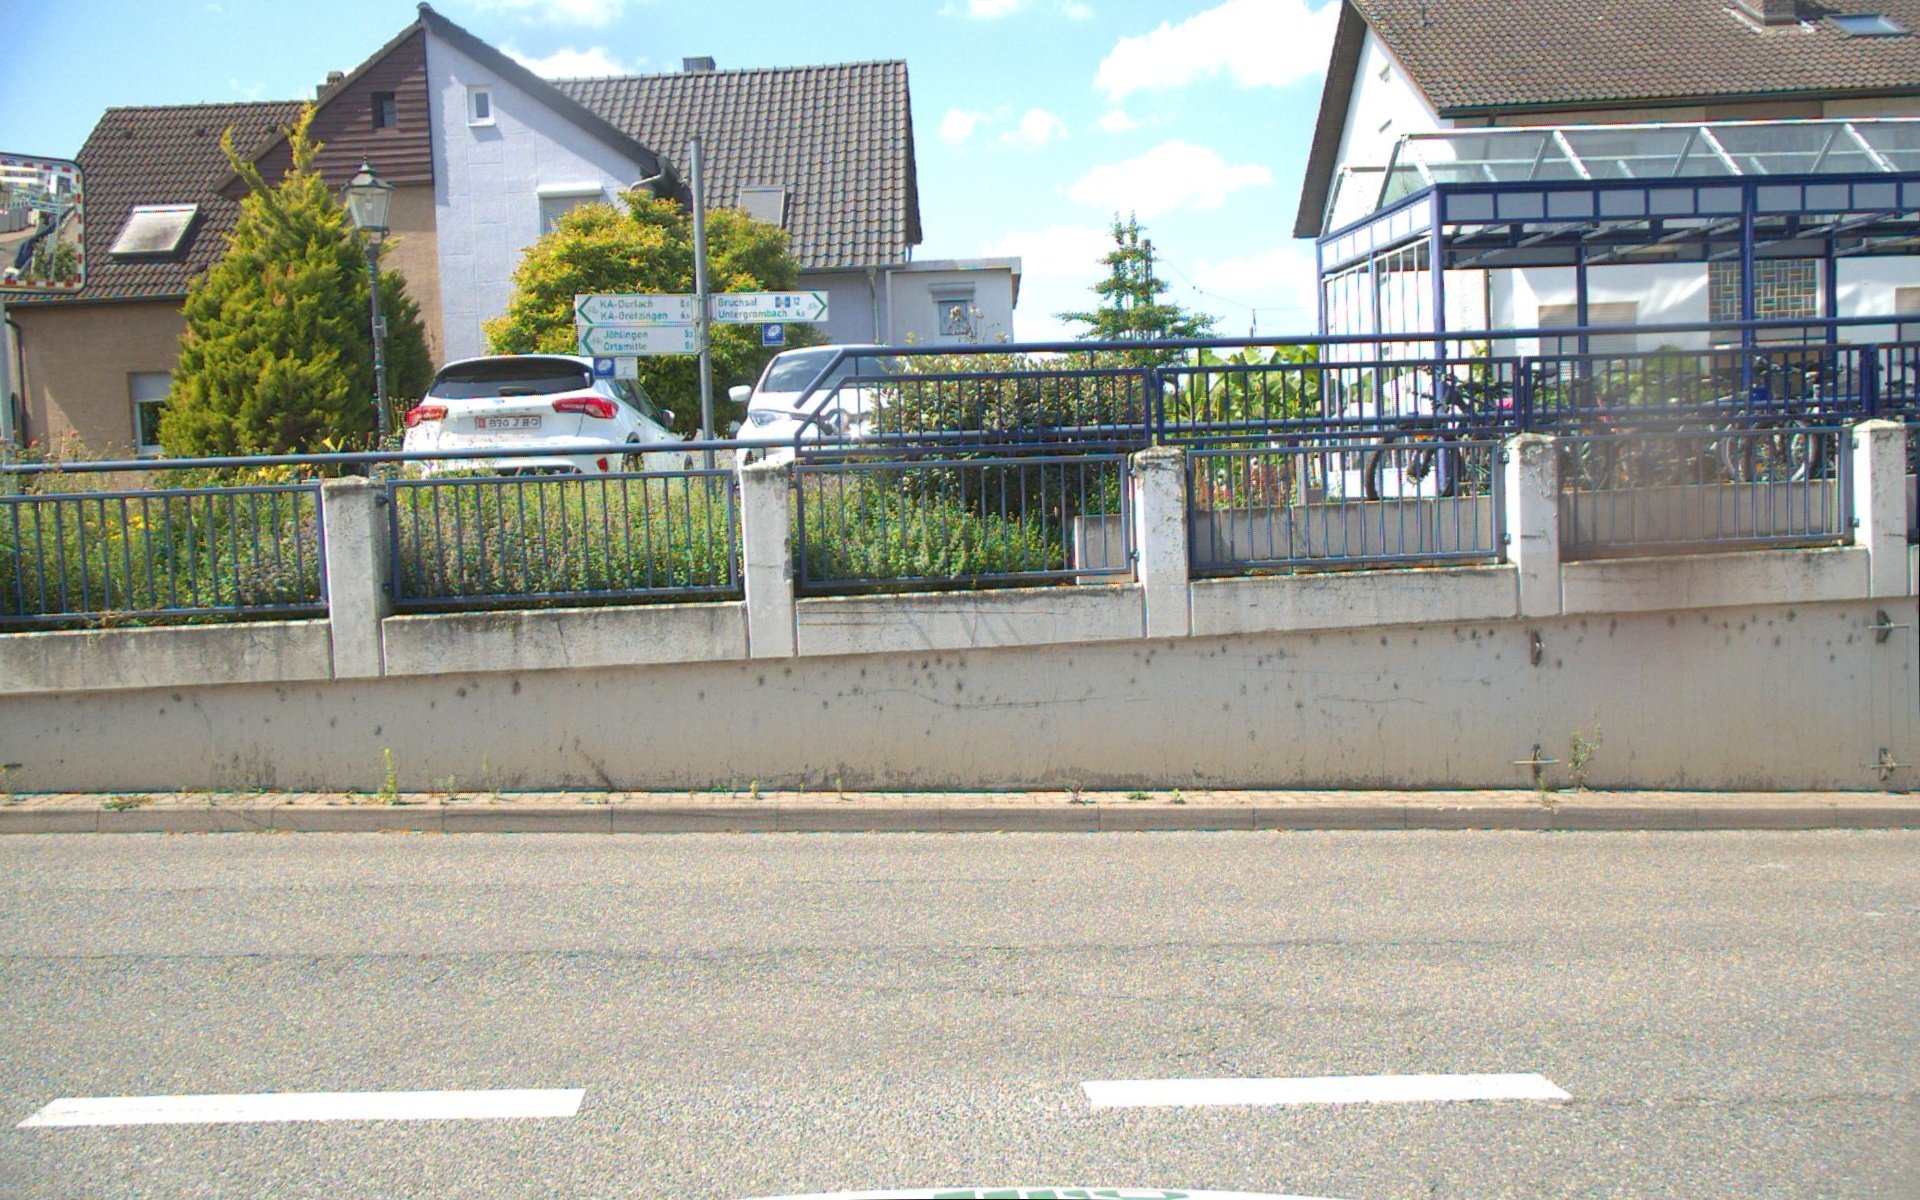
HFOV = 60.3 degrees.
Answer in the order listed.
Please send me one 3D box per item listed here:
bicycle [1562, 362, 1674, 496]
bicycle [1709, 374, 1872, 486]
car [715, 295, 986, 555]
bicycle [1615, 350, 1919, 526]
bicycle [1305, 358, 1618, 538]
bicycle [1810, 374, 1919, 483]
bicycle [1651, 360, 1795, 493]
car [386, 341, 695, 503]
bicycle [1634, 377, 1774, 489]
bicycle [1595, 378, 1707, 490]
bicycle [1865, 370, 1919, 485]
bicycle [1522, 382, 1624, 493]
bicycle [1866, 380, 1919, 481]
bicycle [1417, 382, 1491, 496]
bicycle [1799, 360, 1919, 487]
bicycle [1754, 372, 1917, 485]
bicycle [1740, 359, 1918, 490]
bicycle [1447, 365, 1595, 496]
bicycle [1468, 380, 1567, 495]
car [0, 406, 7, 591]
[{"bbox_3d":[5.456,-1.382,13.802,0.426,1.012,2.105,-1,3,10],"label":"bicycle"},{"bbox_3d":[8.258,-1.666,16.531,0.464,1.012,1.964,-2,3,-6],"label":"bicycle"},{"bbox_3d":[-0.830,-1.341,14.239,1.953,1.828,4.196,1,1,-1],"label":"car"},{"bbox_3d":[5.655,-1.128,11.549,2.075,1.145,0.392,-2,3,-8],"label":"bicycle"},{"bbox_3d":[3.412,-1.035,11.248,2.075,1.145,0.332,-2,3,-8],"label":"bicycle"},{"bbox_3d":[9.420,-1.714,16.673,0.509,1.012,1.964,-2,3,-6],"label":"bicycle"},{"bbox_3d":[6.443,-1.431,14.067,0.426,1.012,2.104,-1,3,5],"label":"bicycle"},{"bbox_3d":[-3.426,-1.440,14.158,1.788,1.037,3.459,1,1,-1],"label":"car"},{"bbox_3d":[7.420,-1.640,16.579,0.417,1.012,1.965,-2,3,-3],"label":"bicycle"},{"bbox_3d":[6.808,-1.608,16.367,0.365,1.012,1.967,-2,3,3],"label":"bicycle"},{"bbox_3d":[8.840,-1.532,14.424,0.522,1.012,2.280,-2,3,-4],"label":"bicycle"},{"bbox_3d":[6.080,-1.590,16.495,0.365,1.012,1.967,-2,3,3],"label":"bicycle"},{"bbox_3d":[10.064,-1.747,16.869,0.509,1.012,1.800,-2,3,-6],"label":"bicycle"},{"bbox_3d":[4.708,-1.505,15.825,0.445,1.012,1.890,-1,3,10],"label":"bicycle"},{"bbox_3d":[8.083,-1.508,14.442,0.426,1.012,2.282,-2,3,2],"label":"bicycle"},{"bbox_3d":[8.724,-1.684,16.568,0.406,1.012,1.964,-2,3,-6],"label":"bicycle"},{"bbox_3d":[7.512,-1.487,14.412,0.426,1.012,2.282,-2,3,2],"label":"bicycle"},{"bbox_3d":[4.762,-1.414,14.177,0.325,1.012,2.073,-2,3,-7],"label":"bicycle"},{"bbox_3d":[5.373,-1.540,16.029,0.365,1.012,1.967,-2,3,3],"label":"bicycle"},{"bbox_3d":[-10.394,-0.982,14.451,1.829,1.828,4.000,1,1,-1],"label":"car"}]
